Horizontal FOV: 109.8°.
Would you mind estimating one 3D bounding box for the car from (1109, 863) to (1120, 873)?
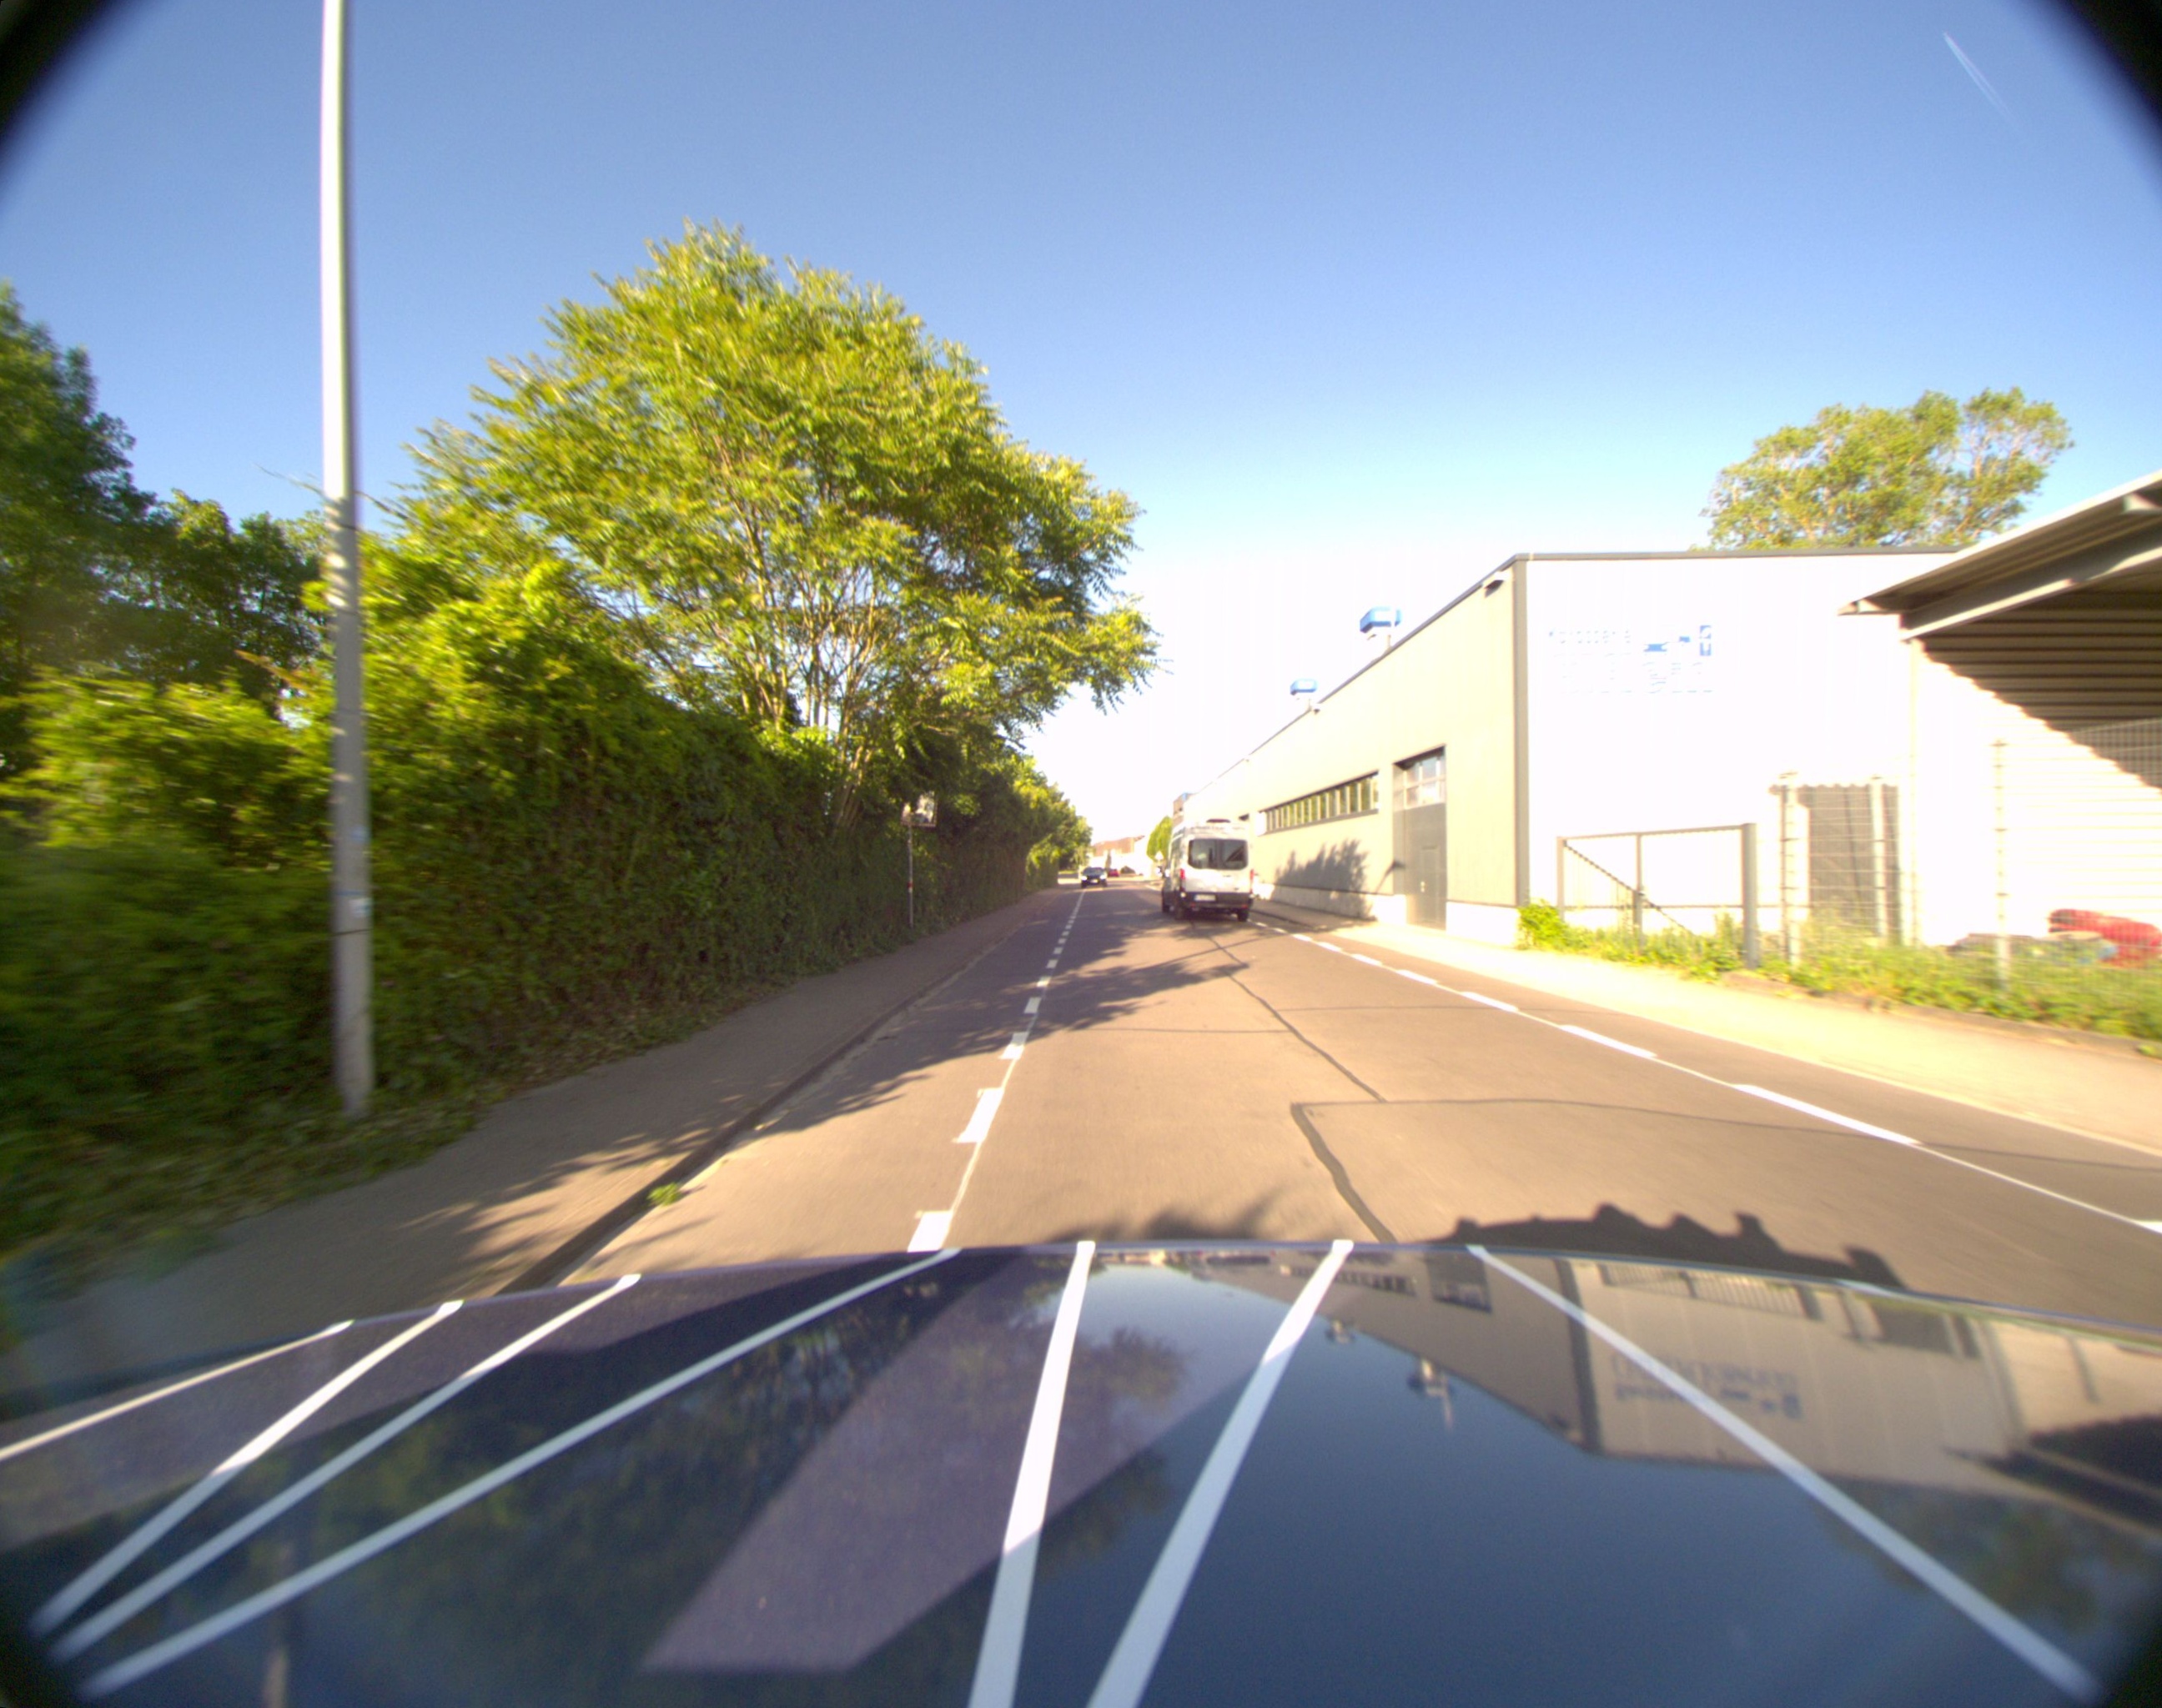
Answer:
[{"bbox_3d":[5.318,2.300,120.922,1.724,1.530,4.077,2,-1,1],"label":"car"}]

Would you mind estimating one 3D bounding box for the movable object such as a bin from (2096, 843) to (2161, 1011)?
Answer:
[{"bbox_3d":[11.810,0.676,6.485,3.396,1.603,1.629,-1,-1,31],"label":"movable object such as a bin"}]

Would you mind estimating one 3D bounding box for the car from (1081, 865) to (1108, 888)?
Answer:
[{"bbox_3d":[1.080,1.712,59.550,2.036,1.623,4.614,0,0,2],"label":"car"}]

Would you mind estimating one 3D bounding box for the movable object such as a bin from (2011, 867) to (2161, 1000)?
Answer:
[{"bbox_3d":[12.134,0.852,8.652,1.473,1.393,1.325,0,-1,-1],"label":"movable object such as a bin"}]

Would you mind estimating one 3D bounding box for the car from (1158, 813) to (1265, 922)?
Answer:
[{"bbox_3d":[3.700,0.361,22.812,2.128,2.764,5.926,2,0,0],"label":"car"}]

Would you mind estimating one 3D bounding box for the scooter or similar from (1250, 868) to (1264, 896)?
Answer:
[{"bbox_3d":[8.148,1.299,35.122,0.417,1.259,1.060,0,0,1],"label":"scooter or similar"}]

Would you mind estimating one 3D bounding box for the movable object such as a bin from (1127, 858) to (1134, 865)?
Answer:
[{"bbox_3d":[9.871,1.513,151.319,1.203,1.463,1.371,0,0,-10],"label":"movable object such as a bin"}]
